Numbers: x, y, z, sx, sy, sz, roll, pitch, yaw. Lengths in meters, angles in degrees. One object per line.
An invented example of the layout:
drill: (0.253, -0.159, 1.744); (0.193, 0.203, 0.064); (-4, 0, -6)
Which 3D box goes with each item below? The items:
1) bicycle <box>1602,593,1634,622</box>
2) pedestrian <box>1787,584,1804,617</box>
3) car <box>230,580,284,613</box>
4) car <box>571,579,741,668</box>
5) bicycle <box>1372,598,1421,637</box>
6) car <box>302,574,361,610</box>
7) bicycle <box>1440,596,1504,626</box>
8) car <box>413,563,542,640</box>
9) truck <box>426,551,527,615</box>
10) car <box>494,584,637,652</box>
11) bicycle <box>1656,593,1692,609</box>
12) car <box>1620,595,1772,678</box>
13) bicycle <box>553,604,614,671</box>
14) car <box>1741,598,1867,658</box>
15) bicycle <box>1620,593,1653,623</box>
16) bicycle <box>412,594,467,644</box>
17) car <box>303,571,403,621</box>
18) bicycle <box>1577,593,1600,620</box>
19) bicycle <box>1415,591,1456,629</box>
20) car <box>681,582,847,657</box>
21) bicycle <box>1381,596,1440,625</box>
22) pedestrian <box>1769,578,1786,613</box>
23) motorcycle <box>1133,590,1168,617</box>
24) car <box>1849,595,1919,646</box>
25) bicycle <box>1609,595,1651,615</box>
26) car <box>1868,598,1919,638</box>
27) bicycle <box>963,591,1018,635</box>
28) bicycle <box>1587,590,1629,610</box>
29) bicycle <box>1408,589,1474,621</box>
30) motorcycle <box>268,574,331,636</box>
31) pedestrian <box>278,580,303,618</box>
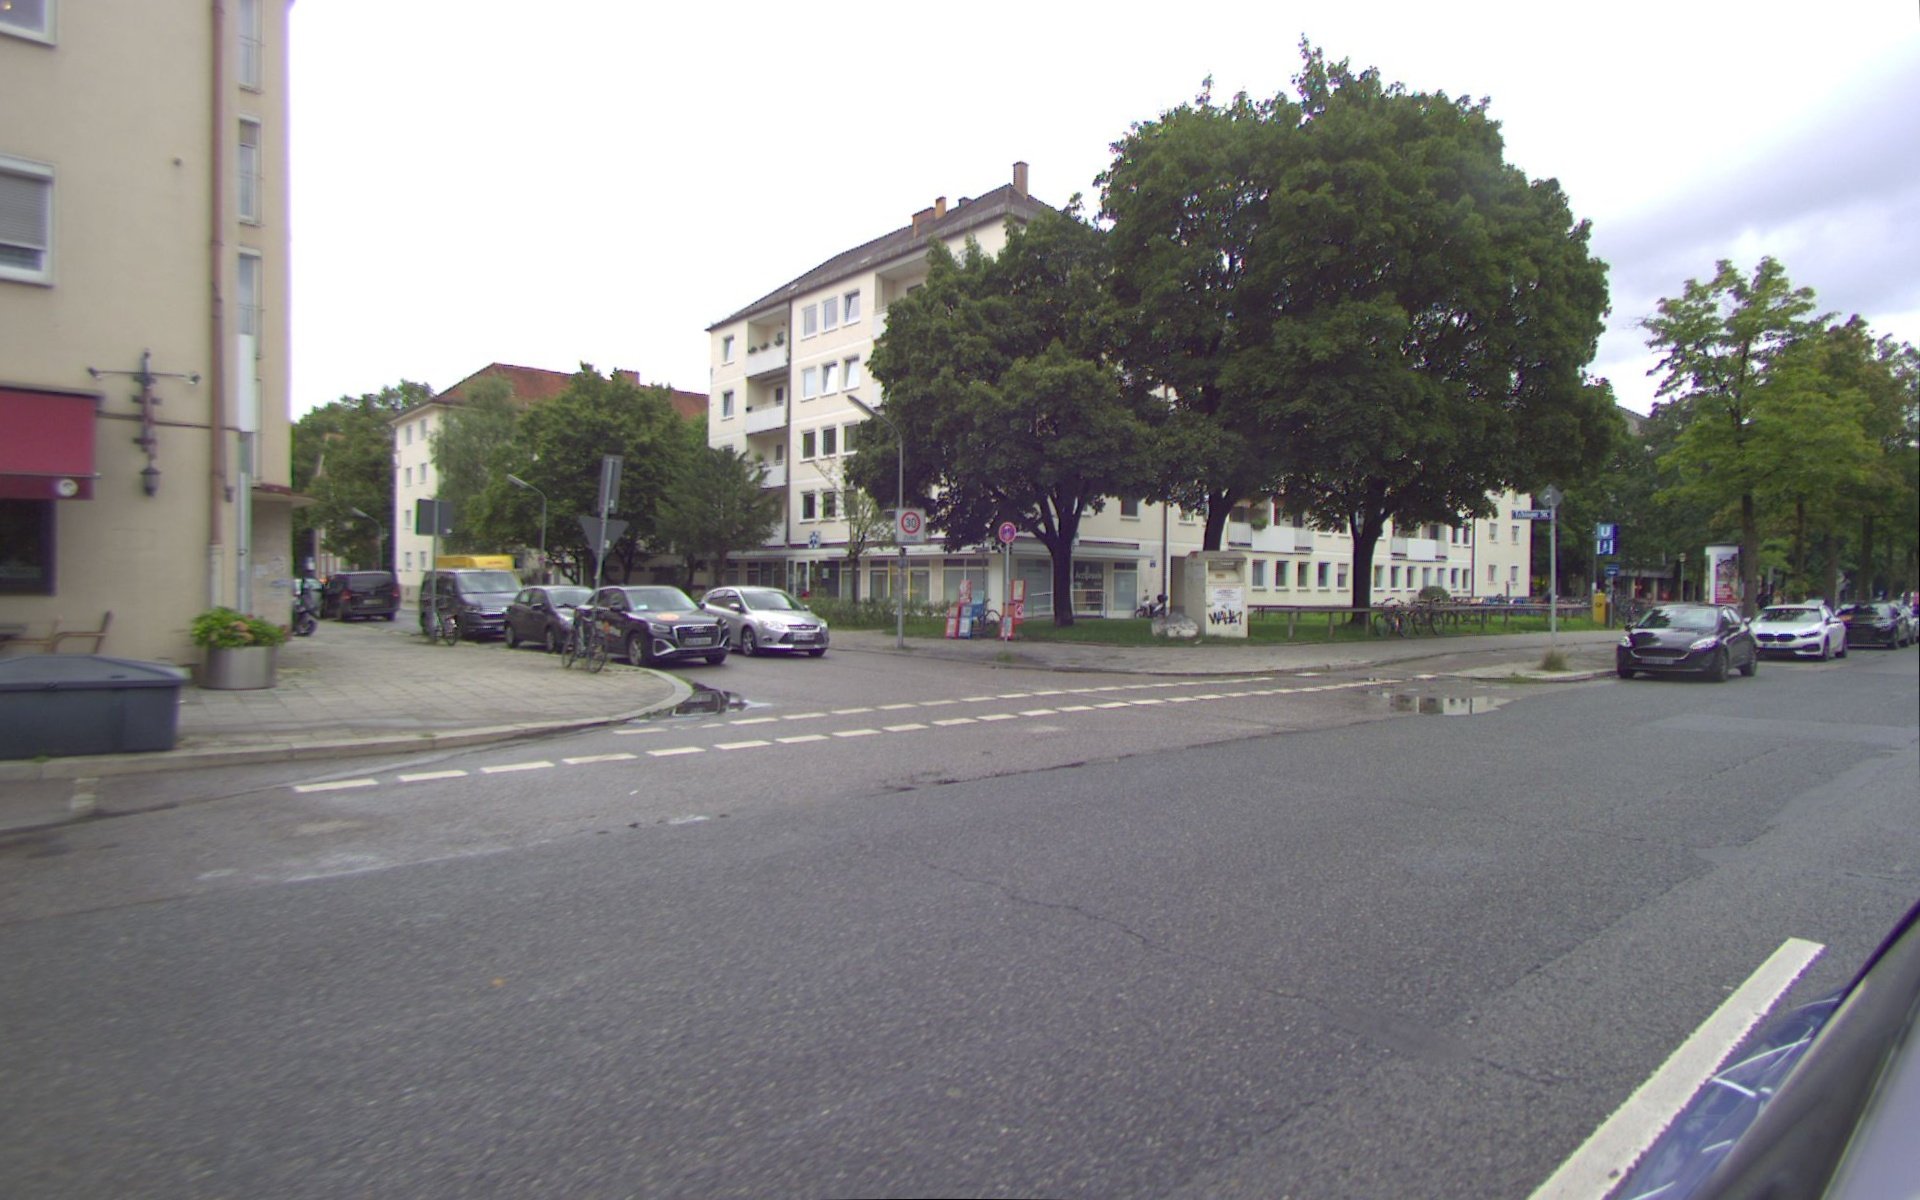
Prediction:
bicycle: (27.261, 0.297, 41.916); (2.039, 1.203, 0.545); (0, 0, -40)
pedestrian: (41.993, 0.021, 50.849); (0.555, 1.625, 0.515); (0, 0, 31)
car: (-39.867, -0.215, 57.347); (1.965, 1.808, 4.992); (0, 1, -41)
car: (-5.982, 0.376, 19.640); (1.700, 1.539, 3.932); (0, 1, -41)
bicycle: (12.064, 0.474, 27.953); (1.820, 1.028, 0.448); (0, 0, -40)
car: (-26.592, -0.346, 42.789); (1.572, 1.460, 3.762); (0, 1, -41)
bicycle: (19.014, 0.395, 37.624); (0.653, 1.081, 2.028); (0, 1, -44)
car: (-13.377, 0.002, 27.870); (1.965, 1.909, 4.992); (0, 1, -41)
truck: (-23.019, -0.830, 48.057); (2.239, 2.805, 6.750); (-2, 2, -44)
car: (-9.426, 0.358, 24.028); (1.965, 1.460, 3.994); (0, 1, -41)
bicycle: (36.358, 0.048, 51.535); (0.490, 0.722, 1.390); (0, 3, -44)
car: (14.609, 0.658, 20.015); (3.887, 1.496, 1.647); (0, 0, -41)
bicycle: (-6.241, 0.590, 16.743); (0.543, 1.023, 1.544); (0, 1, -36)
car: (22.335, 0.692, 26.741); (4.211, 1.455, 1.825); (0, -1, -40)
bicycle: (27.193, 0.306, 40.666); (2.039, 1.203, 0.545); (0, 0, -40)
bicycle: (-12.181, 0.428, 23.669); (1.874, 1.098, 0.545); (1, 1, 43)
car: (-23.468, -0.197, 39.040); (4.984, 1.808, 2.121); (1, 1, 44)
bicycle: (26.745, 0.288, 43.081); (1.231, 1.130, 0.466); (0, 0, -40)
bicycle: (13.961, 0.279, 29.682); (1.739, 1.068, 0.469); (-1, 3, -45)
car: (-4.395, 0.353, 22.215); (1.963, 1.460, 4.221); (0, 1, -36)
bicycle: (17.553, 0.395, 39.450); (0.653, 1.081, 2.028); (0, 1, -44)
pedestrian: (41.394, -0.219, 51.232); (0.555, 1.778, 0.650); (0, 0, 30)
motorcycle: (8.220, 0.151, 43.672); (1.593, 1.134, 0.606); (0, 0, -40)
car: (30.365, 0.619, 32.772); (4.084, 1.530, 1.825); (0, 0, -41)
bicycle: (32.497, 0.224, 49.078); (0.490, 0.927, 1.596); (0, 2, -44)
car: (34.723, 0.625, 37.194); (3.859, 1.397, 1.615); (0, 0, -42)
bicycle: (0.833, 0.338, 27.659); (0.687, 1.170, 1.471); (0, 0, -41)
bicycle: (30.495, 0.005, 47.654); (0.490, 0.927, 1.596); (0, 1, -44)
bicycle: (16.889, 0.160, 35.569); (0.653, 1.081, 2.028); (0, 1, -44)
motorcycle: (-16.512, 0.091, 25.249); (0.875, 1.460, 3.257); (0, 1, -41)
pedestrian: (-25.183, -0.037, 38.072); (0.722, 1.428, 0.493); (0, 0, -45)
